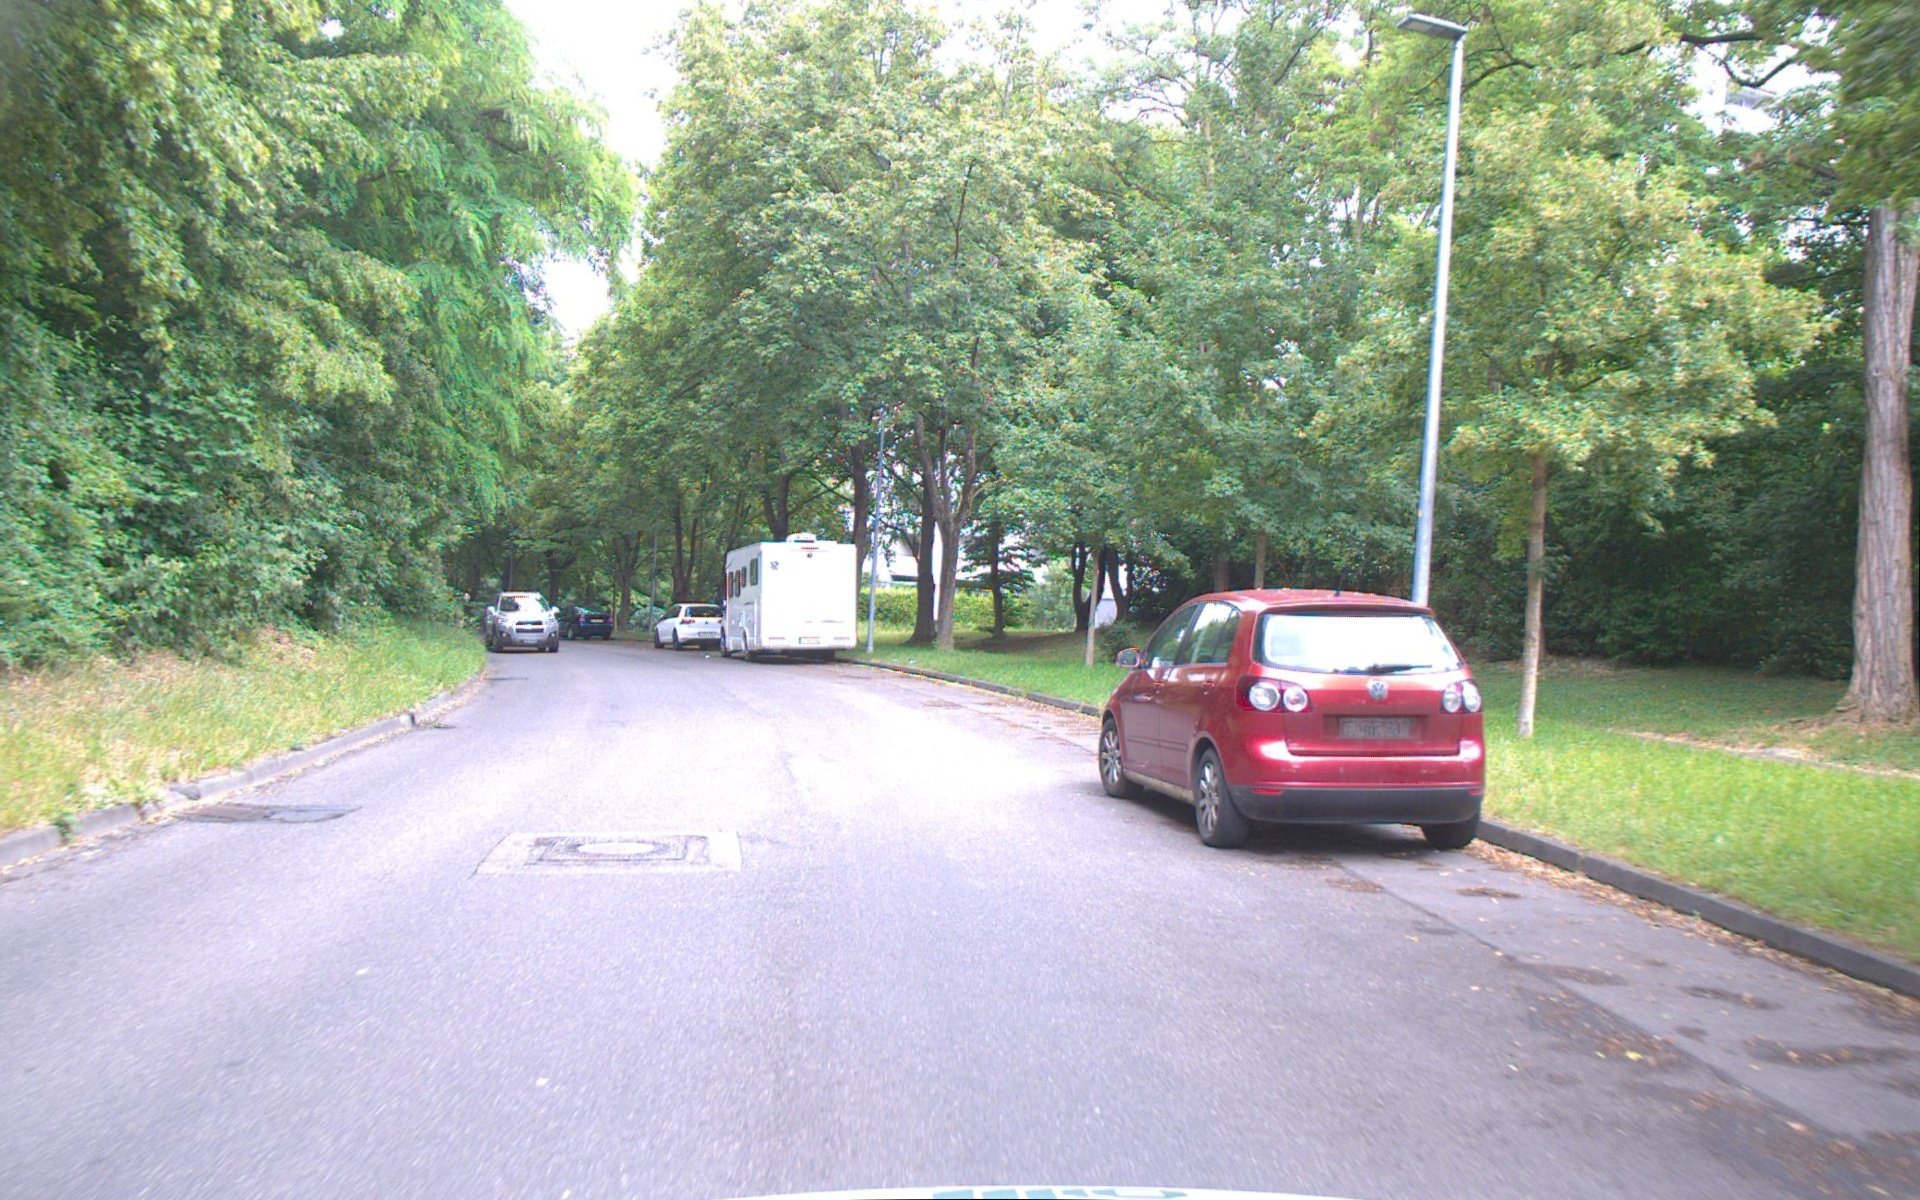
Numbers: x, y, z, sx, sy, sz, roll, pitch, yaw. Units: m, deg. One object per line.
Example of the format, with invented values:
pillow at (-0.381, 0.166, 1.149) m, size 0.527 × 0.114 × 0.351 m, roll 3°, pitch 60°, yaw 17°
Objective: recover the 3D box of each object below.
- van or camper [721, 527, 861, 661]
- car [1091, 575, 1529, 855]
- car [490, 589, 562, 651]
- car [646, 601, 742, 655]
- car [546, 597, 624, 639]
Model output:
van or camper at (-4.257, -0.167, 40.823) m, size 2.391 × 3.060 × 5.182 m, roll 1°, pitch 1°, yaw -18°
car at (2.188, 0.672, 11.487) m, size 1.706 × 1.590 × 3.992 m, roll 1°, pitch 0°, yaw -8°
car at (-12.709, 0.538, 48.277) m, size 1.829 × 1.693 × 4.548 m, roll -1°, pitch 1°, yaw -17°
car at (-8.610, 0.874, 53.276) m, size 1.969 × 1.498 × 3.968 m, roll 3°, pitch 0°, yaw -26°
car at (-15.533, 0.734, 68.390) m, size 1.973 × 1.527 × 3.959 m, roll 4°, pitch 0°, yaw -31°
